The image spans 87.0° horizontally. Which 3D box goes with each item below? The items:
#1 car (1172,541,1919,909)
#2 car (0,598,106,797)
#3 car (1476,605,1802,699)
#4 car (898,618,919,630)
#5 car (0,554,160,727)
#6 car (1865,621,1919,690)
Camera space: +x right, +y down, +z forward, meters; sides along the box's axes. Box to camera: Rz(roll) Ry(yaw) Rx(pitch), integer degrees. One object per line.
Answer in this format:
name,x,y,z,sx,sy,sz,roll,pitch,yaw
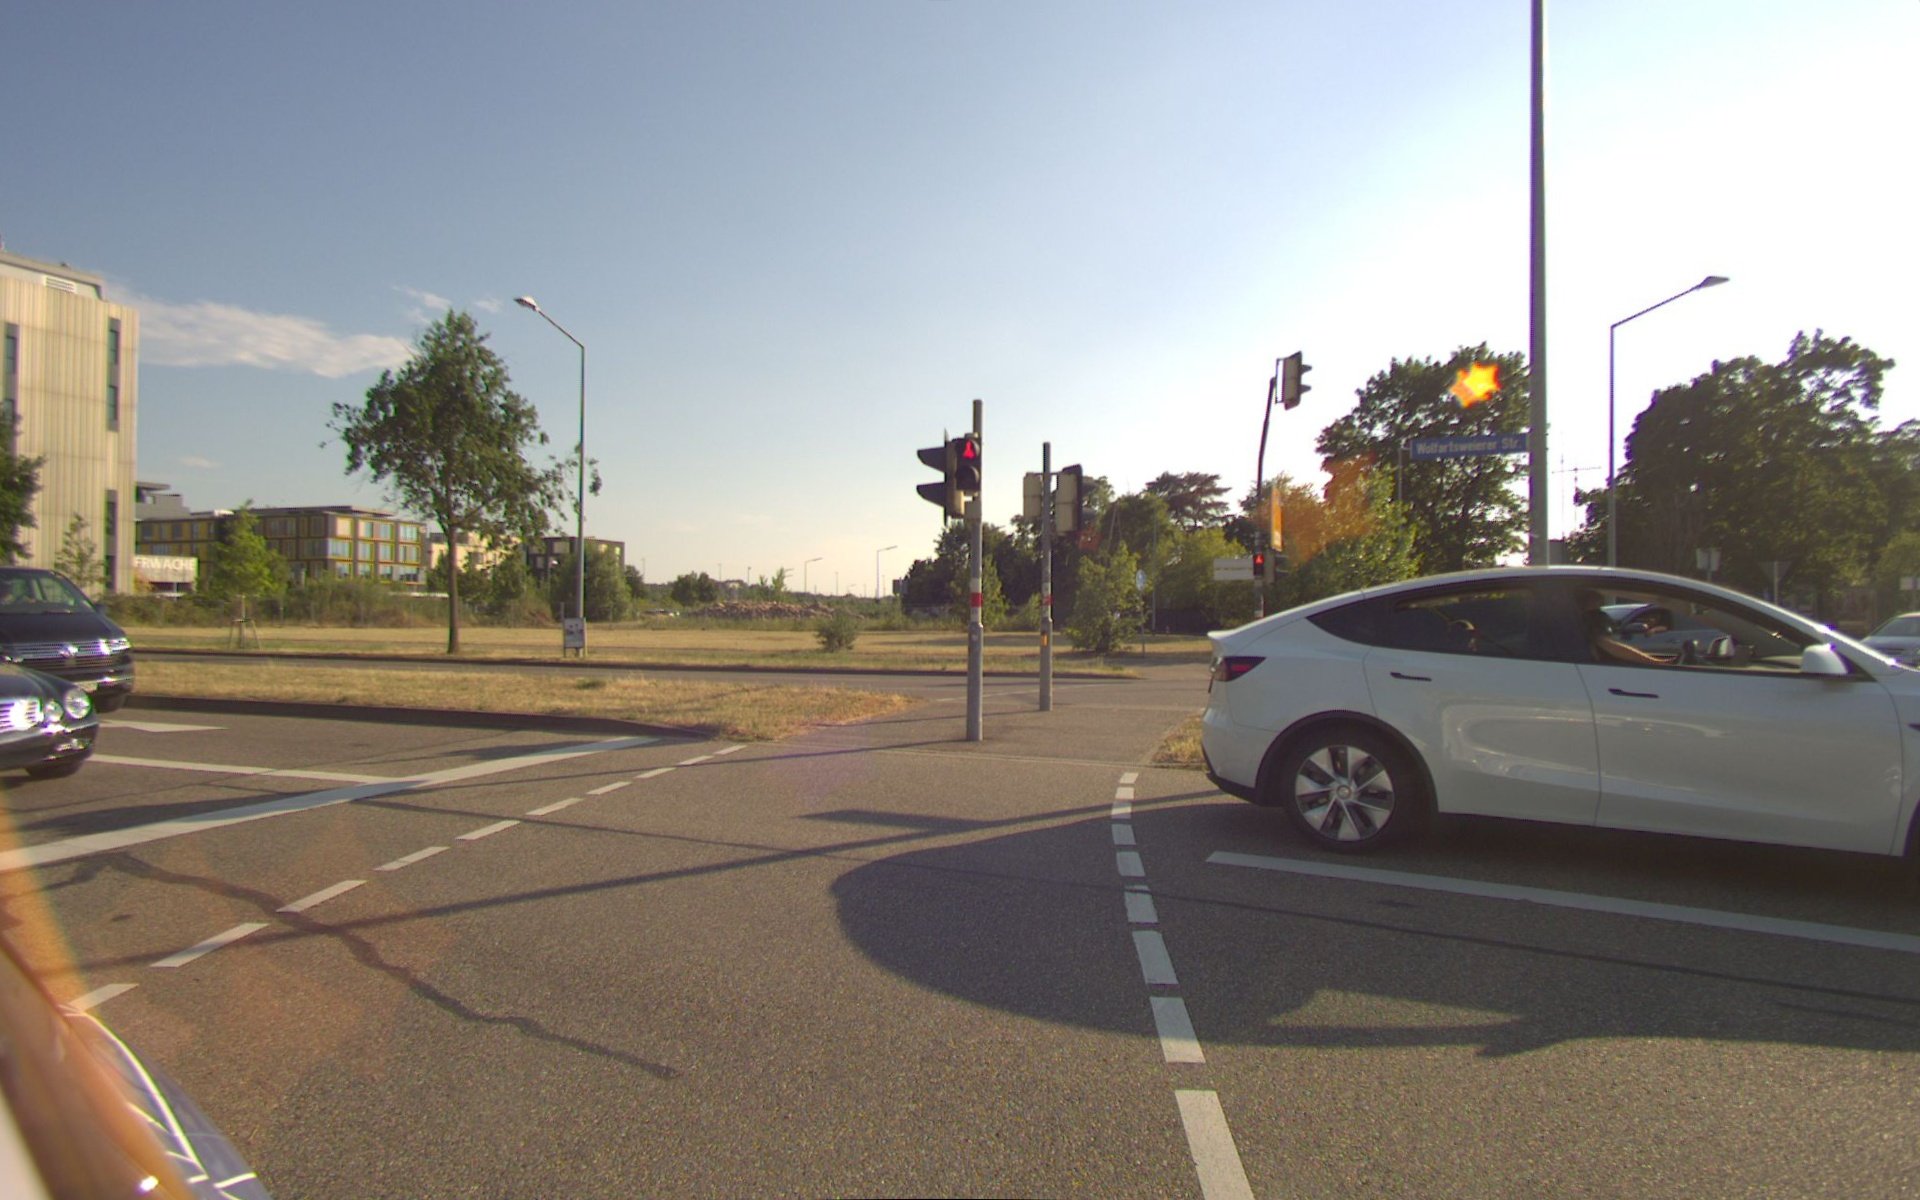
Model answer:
car,3.710,0.547,5.668,4.655,1.611,1.724,0,0,28
car,-9.169,0.745,8.150,4.468,1.447,1.796,-1,0,25
car,11.582,0.873,17.429,4.574,1.524,1.654,0,-2,-4
car,-5.915,2.716,115.920,1.313,1.302,2.813,1,-1,-26
car,-12.917,0.455,12.992,4.975,1.946,1.850,0,0,20
car,22.916,1.252,23.637,3.877,1.537,1.661,1,-1,-33
